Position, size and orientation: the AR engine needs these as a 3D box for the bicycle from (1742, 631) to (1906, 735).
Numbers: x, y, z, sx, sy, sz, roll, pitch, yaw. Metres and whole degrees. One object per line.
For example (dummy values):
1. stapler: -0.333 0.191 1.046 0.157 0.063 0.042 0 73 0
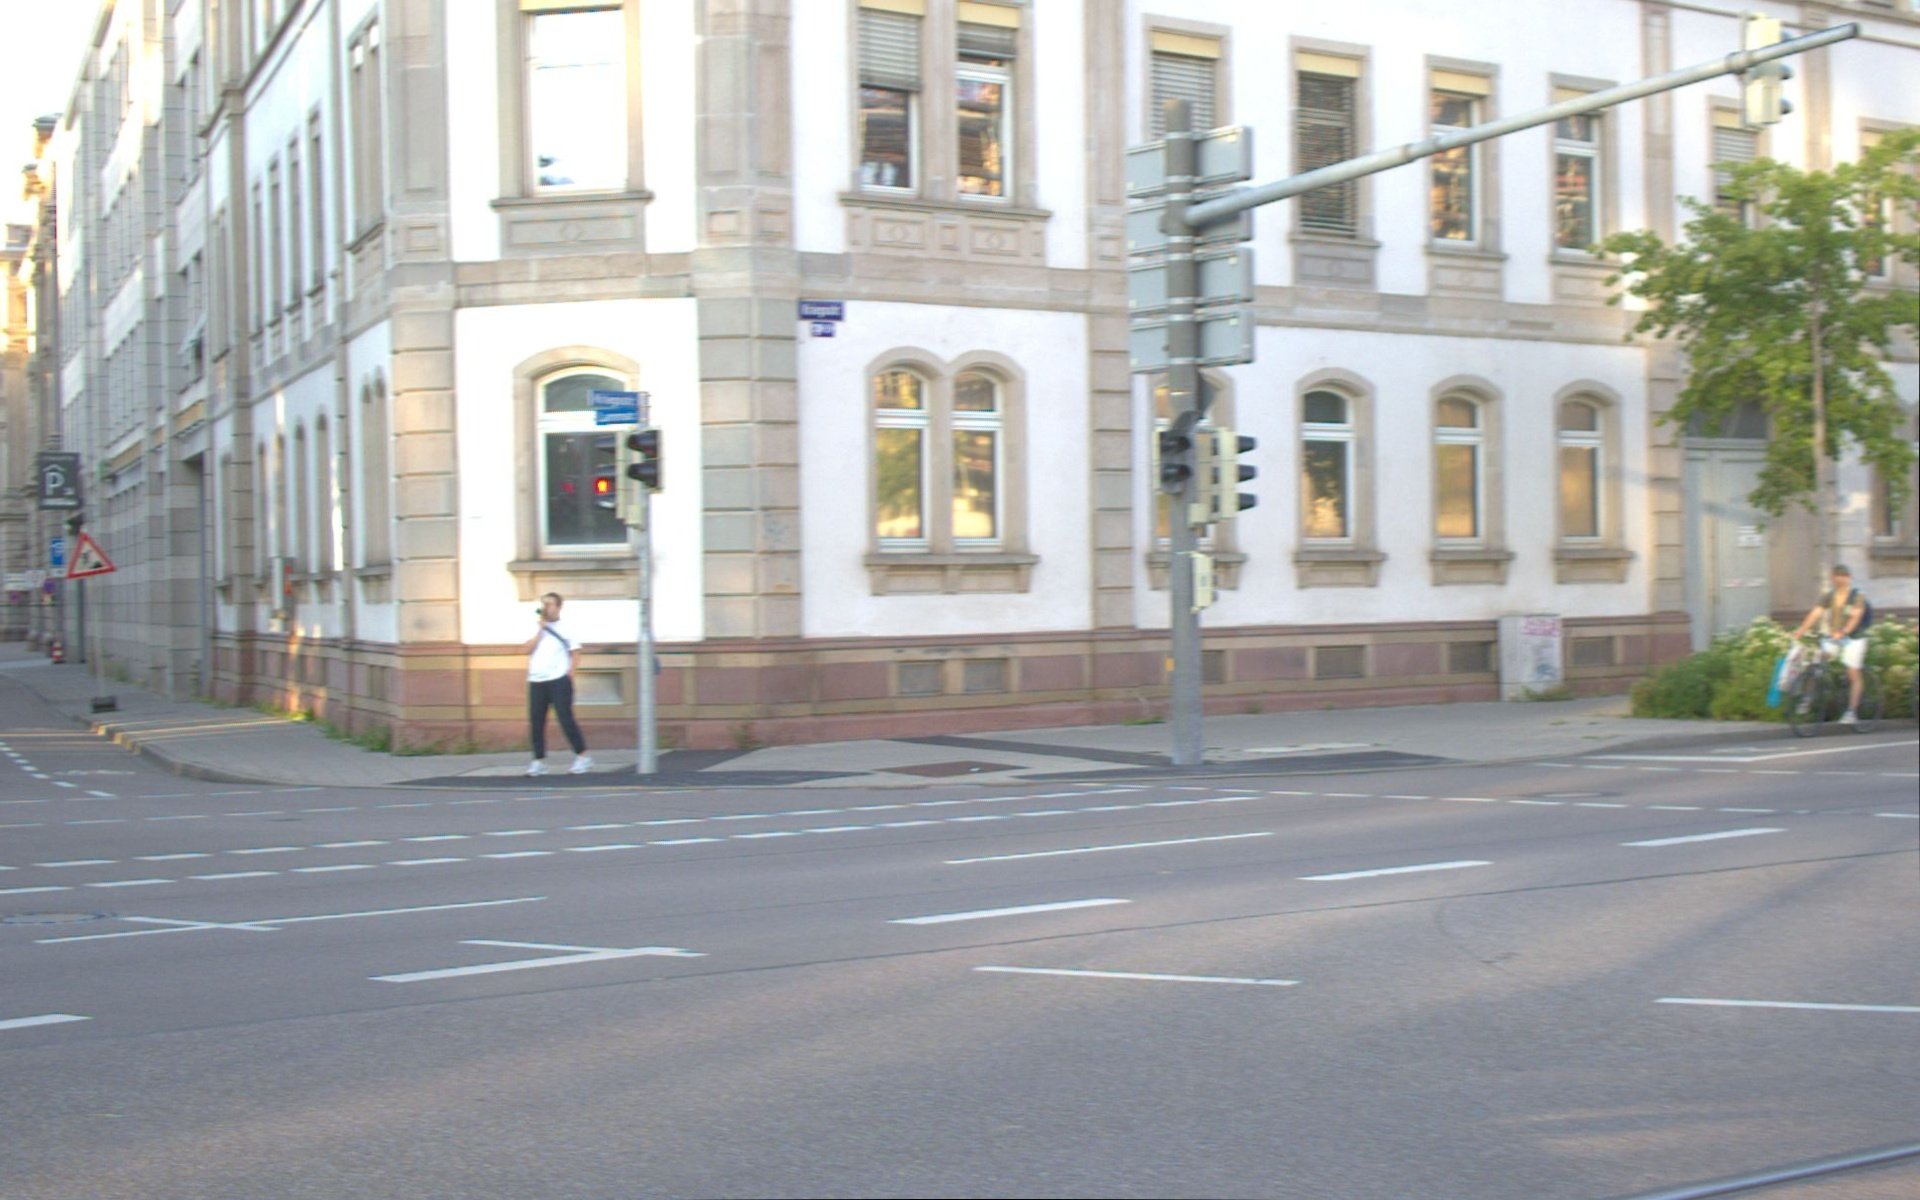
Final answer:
1. bicycle: 9.140 0.868 36.341 2.041 1.048 0.529 -1 0 -38

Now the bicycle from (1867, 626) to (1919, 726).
1. bicycle: 10.837 0.817 37.924 2.038 1.048 0.517 -1 1 -40

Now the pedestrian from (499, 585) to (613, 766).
1. pedestrian: -3.765 0.695 32.033 0.817 1.651 0.636 -1 0 28

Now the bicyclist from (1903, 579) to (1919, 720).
1. bicyclist: 10.819 0.546 37.898 0.690 1.543 0.512 -1 1 -40

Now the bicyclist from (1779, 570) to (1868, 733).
1. bicyclist: 9.127 0.540 36.336 0.766 1.695 0.510 -1 0 -38
